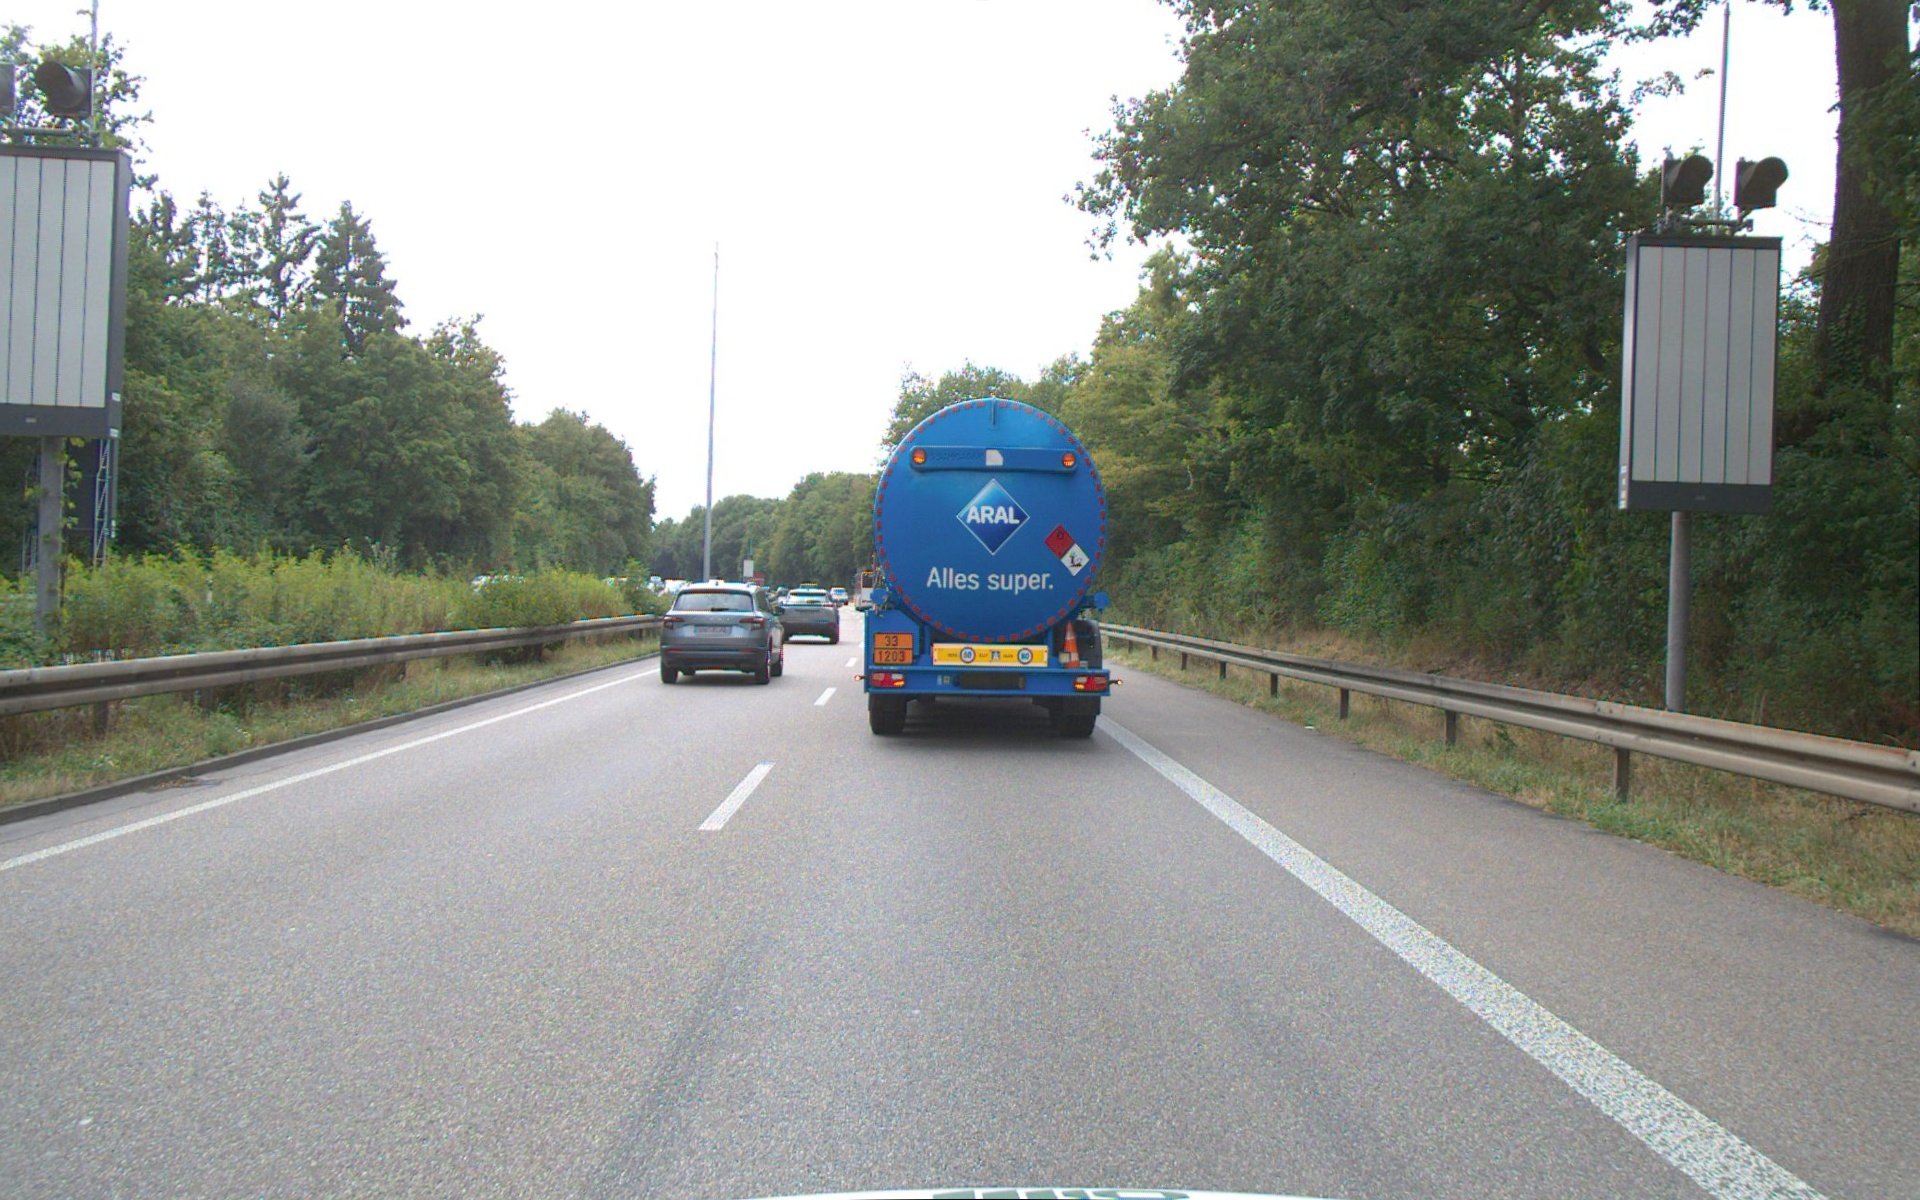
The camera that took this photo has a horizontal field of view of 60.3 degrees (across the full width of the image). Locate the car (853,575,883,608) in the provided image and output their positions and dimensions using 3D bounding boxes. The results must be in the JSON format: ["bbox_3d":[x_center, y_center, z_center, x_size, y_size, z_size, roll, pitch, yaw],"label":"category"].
[{"bbox_3d":[-6.579,-0.577,117.657,1.955,2.284,3.995,1,0,-6],"label":"car"}]

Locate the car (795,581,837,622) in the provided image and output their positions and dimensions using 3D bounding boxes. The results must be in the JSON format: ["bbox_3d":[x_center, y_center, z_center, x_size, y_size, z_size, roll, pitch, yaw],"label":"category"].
[{"bbox_3d":[-7.484,0.096,86.101,1.953,2.049,3.998,0,0,-2],"label":"car"}]

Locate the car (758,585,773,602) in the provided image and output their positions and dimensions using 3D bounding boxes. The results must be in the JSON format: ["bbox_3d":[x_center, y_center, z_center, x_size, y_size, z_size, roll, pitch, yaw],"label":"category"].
[{"bbox_3d":[-26.644,-0.924,226.283,1.955,2.284,3.994,1,0,-7],"label":"car"}]

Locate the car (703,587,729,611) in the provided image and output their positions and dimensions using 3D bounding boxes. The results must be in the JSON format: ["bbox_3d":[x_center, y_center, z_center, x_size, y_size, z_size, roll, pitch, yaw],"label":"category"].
[{"bbox_3d":[-20.298,-0.073,137.547,1.756,1.868,4.952,0,0,-4],"label":"car"}]

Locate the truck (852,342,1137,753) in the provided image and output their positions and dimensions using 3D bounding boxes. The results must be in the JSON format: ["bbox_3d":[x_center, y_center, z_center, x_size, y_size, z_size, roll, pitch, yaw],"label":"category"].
[{"bbox_3d":[0.340,-0.492,19.677,2.699,3.914,7.688,0,0,0],"label":"truck"}]

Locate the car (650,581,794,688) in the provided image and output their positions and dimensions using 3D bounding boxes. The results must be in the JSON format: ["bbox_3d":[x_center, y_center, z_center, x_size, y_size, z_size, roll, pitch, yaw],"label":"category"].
[{"bbox_3d":[-3.905,0.539,27.732,1.789,1.638,4.167,0,0,0],"label":"car"}]

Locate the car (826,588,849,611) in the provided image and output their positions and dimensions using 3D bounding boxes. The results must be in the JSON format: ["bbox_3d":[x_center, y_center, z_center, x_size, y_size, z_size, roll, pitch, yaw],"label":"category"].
[{"bbox_3d":[-12.096,-0.023,163.499,1.953,2.284,4.000,0,0,0],"label":"car"}]

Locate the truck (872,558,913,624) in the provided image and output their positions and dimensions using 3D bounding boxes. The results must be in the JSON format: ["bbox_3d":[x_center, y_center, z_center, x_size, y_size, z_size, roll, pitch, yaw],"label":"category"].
[{"bbox_3d":[-3.392,-0.424,84.343,1.953,3.147,7.812,0,0,-2],"label":"truck"}]

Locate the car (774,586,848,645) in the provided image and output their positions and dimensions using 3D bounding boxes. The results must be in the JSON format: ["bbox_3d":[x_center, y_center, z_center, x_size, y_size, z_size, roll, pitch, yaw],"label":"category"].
[{"bbox_3d":[-4.339,0.439,48.639,1.789,1.638,4.167,0,0,0],"label":"car"}]
